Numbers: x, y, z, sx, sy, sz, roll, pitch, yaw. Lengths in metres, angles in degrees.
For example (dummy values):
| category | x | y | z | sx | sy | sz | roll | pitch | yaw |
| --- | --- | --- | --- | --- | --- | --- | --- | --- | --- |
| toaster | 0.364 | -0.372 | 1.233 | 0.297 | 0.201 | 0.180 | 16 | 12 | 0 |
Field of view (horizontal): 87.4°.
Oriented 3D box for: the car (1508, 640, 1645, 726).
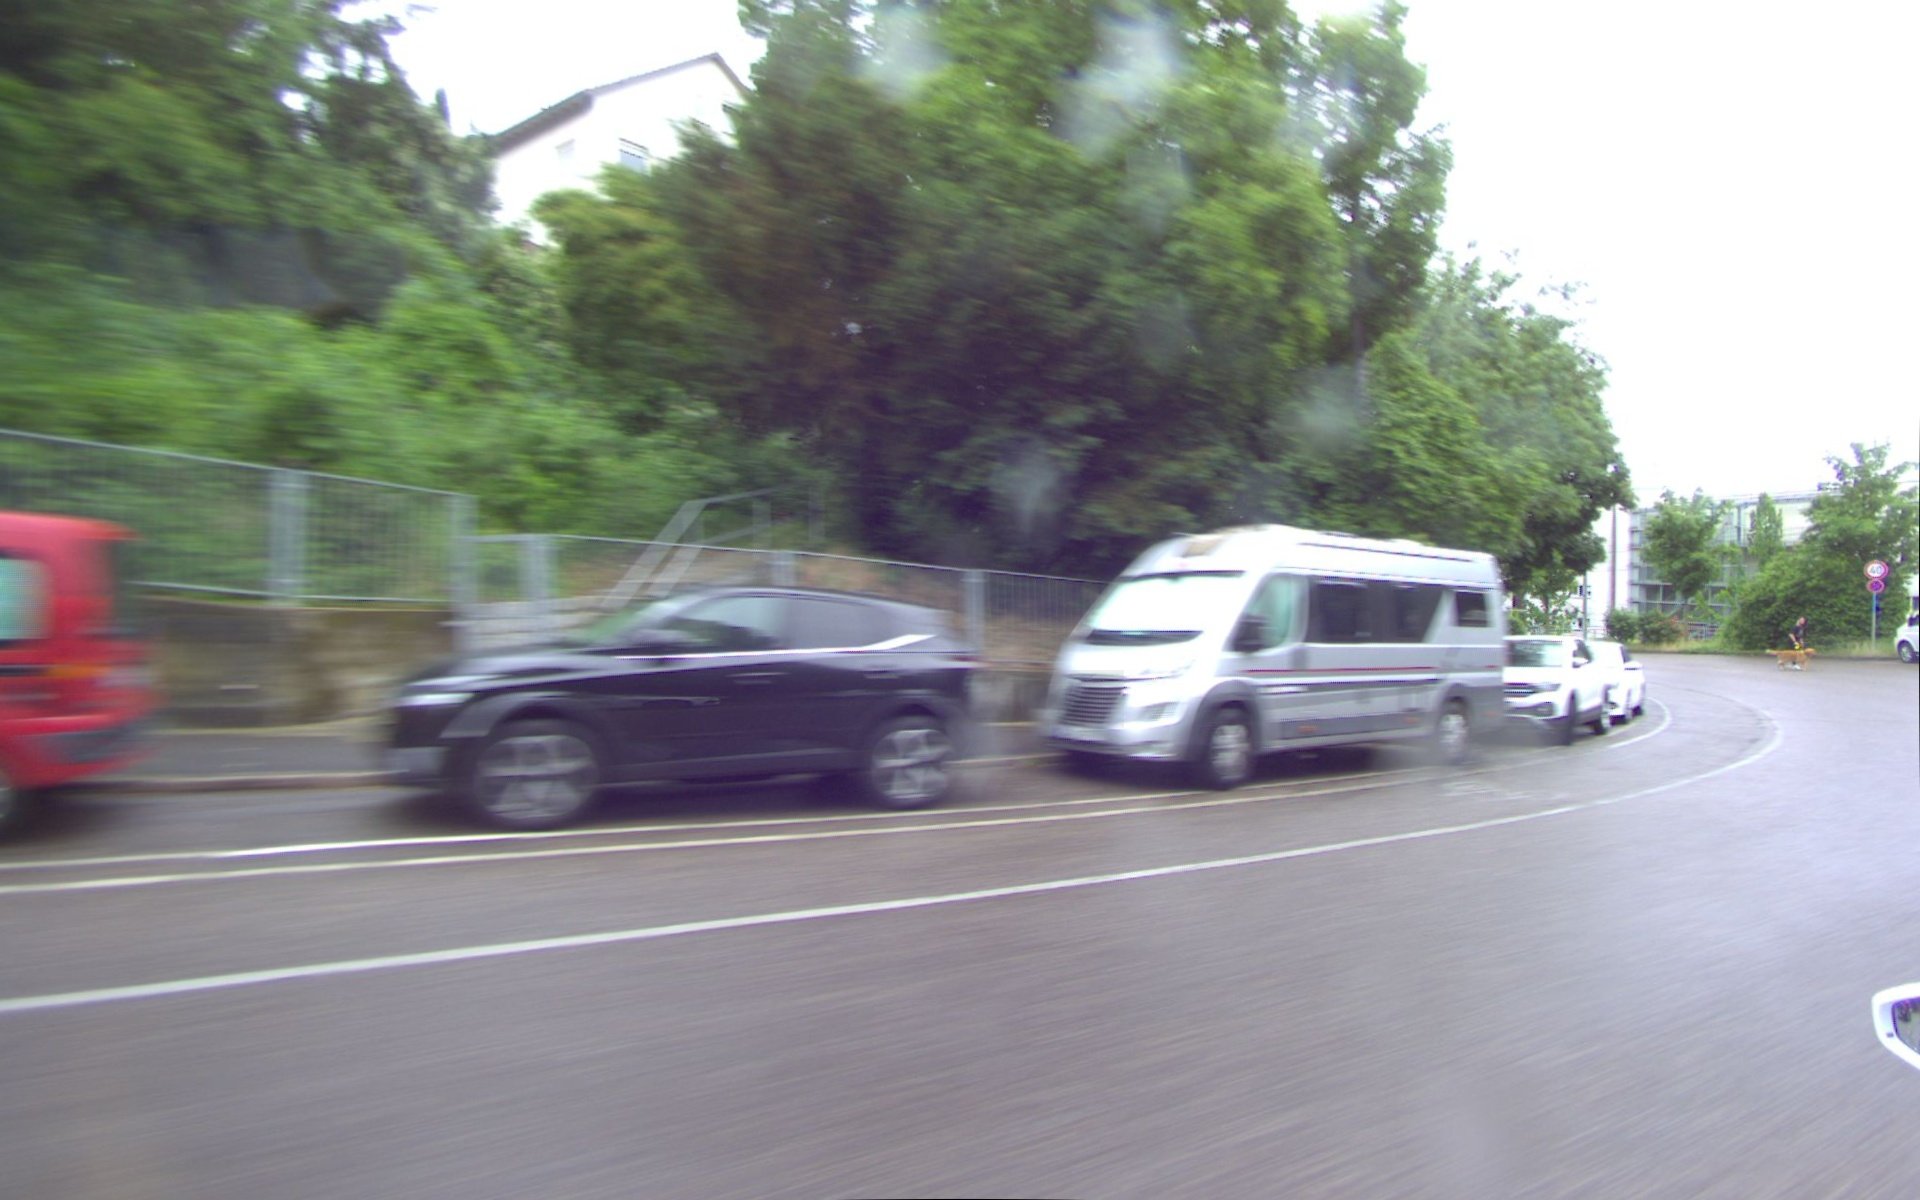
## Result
| category | x | y | z | sx | sy | sz | roll | pitch | yaw |
| --- | --- | --- | --- | --- | --- | --- | --- | --- | --- |
| car | 12.143 | 1.541 | 19.666 | 1.731 | 1.475 | 4.029 | -3 | -3 | 39 |

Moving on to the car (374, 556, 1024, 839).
| category | x | y | z | sx | sy | sz | roll | pitch | yaw |
| --- | --- | --- | --- | --- | --- | --- | --- | --- | --- |
| car | -1.893 | 0.676 | 7.732 | 4.342 | 1.640 | 1.986 | 3 | -2 | -28 |

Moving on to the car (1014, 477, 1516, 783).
| category | x | y | z | sx | sy | sz | roll | pitch | yaw |
| --- | --- | --- | --- | --- | --- | --- | --- | --- | --- |
| car | 3.683 | 0.460 | 11.212 | 6.289 | 2.582 | 2.059 | 4 | -4 | -37 |

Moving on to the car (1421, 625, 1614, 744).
| category | x | y | z | sx | sy | sz | roll | pitch | yaw |
| --- | --- | --- | --- | --- | --- | --- | --- | --- | --- |
| car | 8.772 | 1.257 | 15.660 | 1.784 | 1.603 | 4.004 | -3 | -4 | 42 |

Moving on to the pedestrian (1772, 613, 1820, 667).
| category | x | y | z | sx | sy | sz | roll | pitch | yaw |
| --- | --- | --- | --- | --- | --- | --- | --- | --- | --- |
| pedestrian | 27.112 | 1.297 | 32.575 | 0.796 | 1.683 | 0.917 | -3 | -1 | -33 |

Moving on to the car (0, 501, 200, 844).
| category | x | y | z | sx | sy | sz | roll | pitch | yaw |
| --- | --- | --- | --- | --- | --- | --- | --- | --- | --- |
| car | -6.753 | 0.302 | 5.279 | 4.086 | 1.791 | 1.743 | 3 | -1 | -29 |

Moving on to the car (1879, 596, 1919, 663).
| category | x | y | z | sx | sy | sz | roll | pitch | yaw |
| --- | --- | --- | --- | --- | --- | --- | --- | --- | --- |
| car | 30.395 | 0.853 | 30.198 | 1.845 | 2.040 | 4.694 | -3 | -2 | 12 |
